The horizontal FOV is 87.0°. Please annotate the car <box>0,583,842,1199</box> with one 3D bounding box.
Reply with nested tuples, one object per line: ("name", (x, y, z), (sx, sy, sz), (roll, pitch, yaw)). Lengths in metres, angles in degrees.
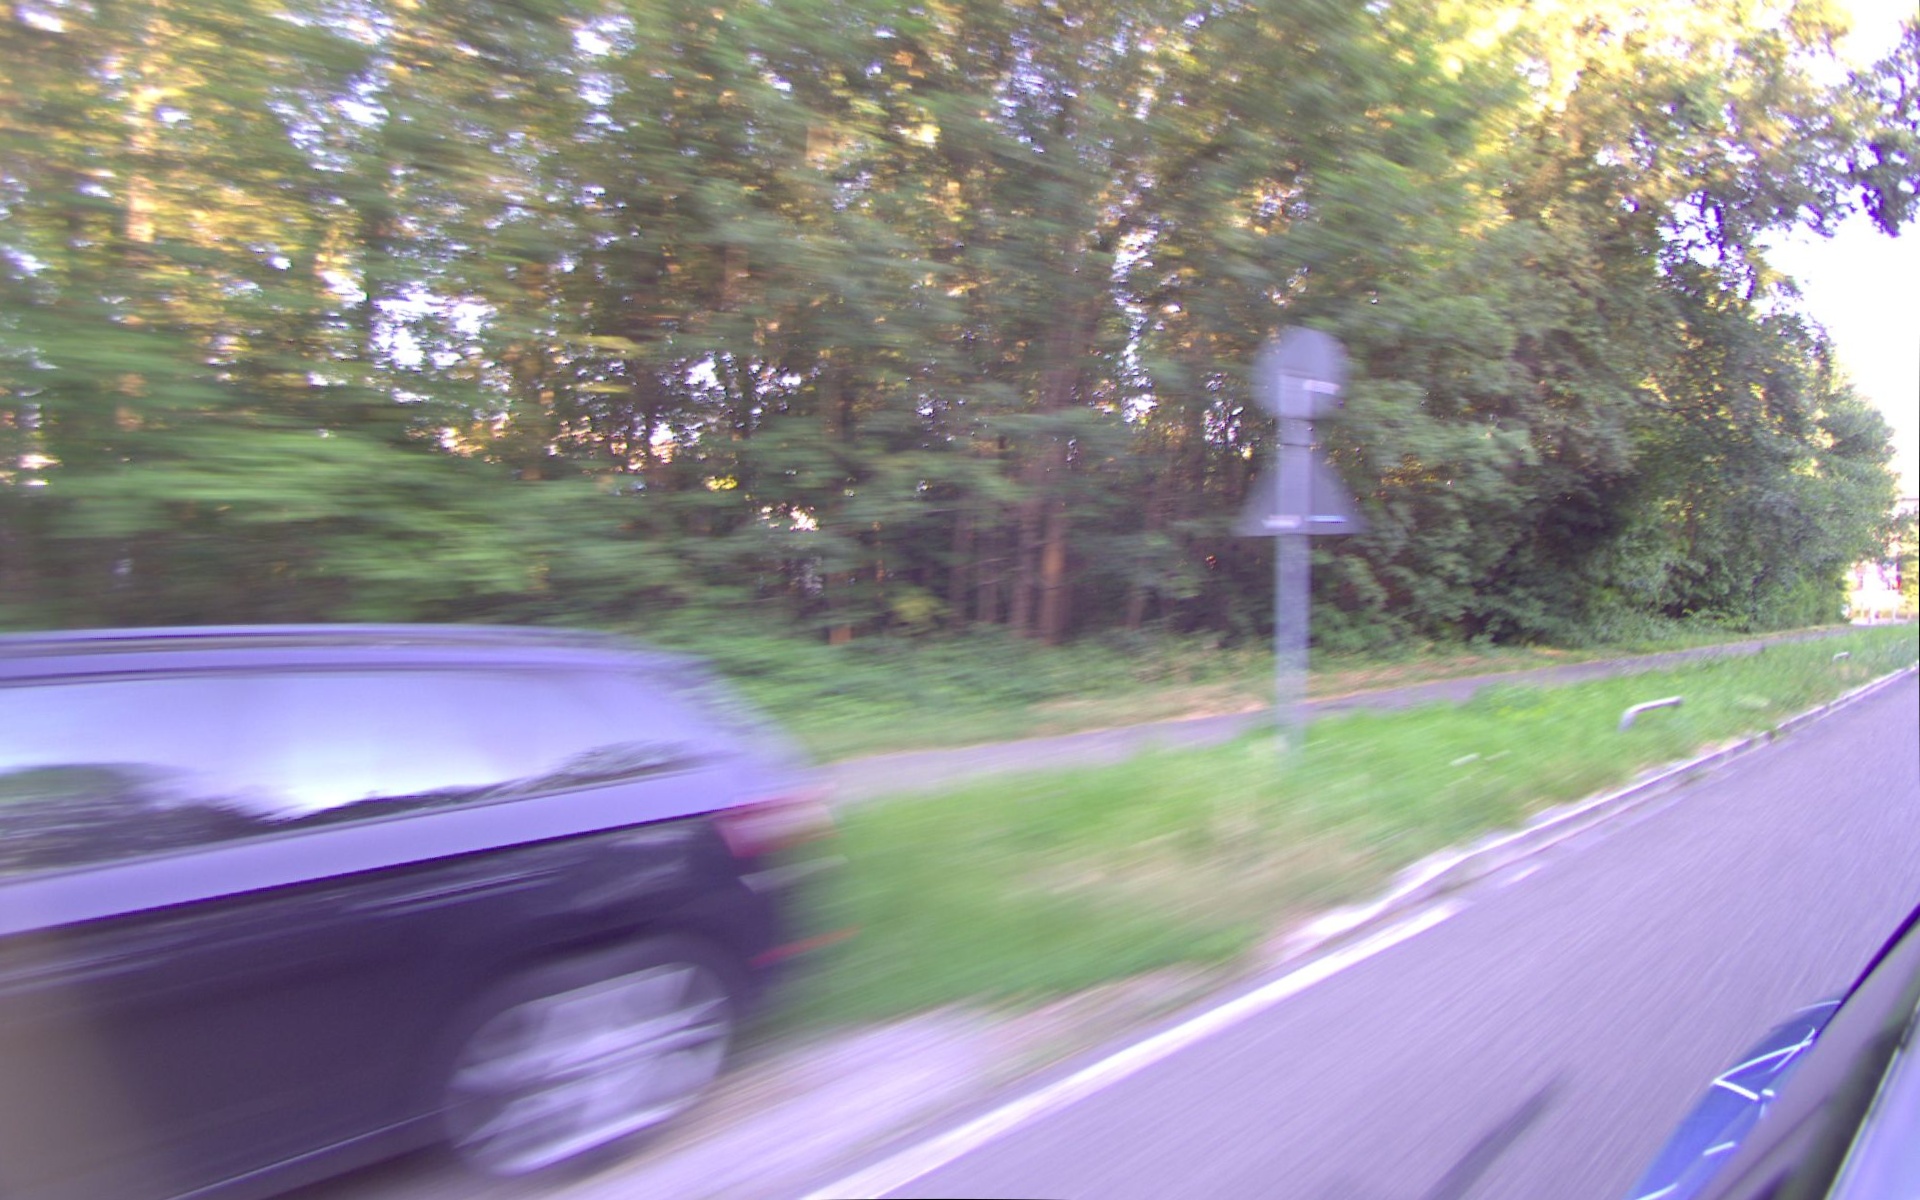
("car", (-2.378, 0.699, 2.477), (3.872, 1.423, 1.666), (0, -1, -40))
